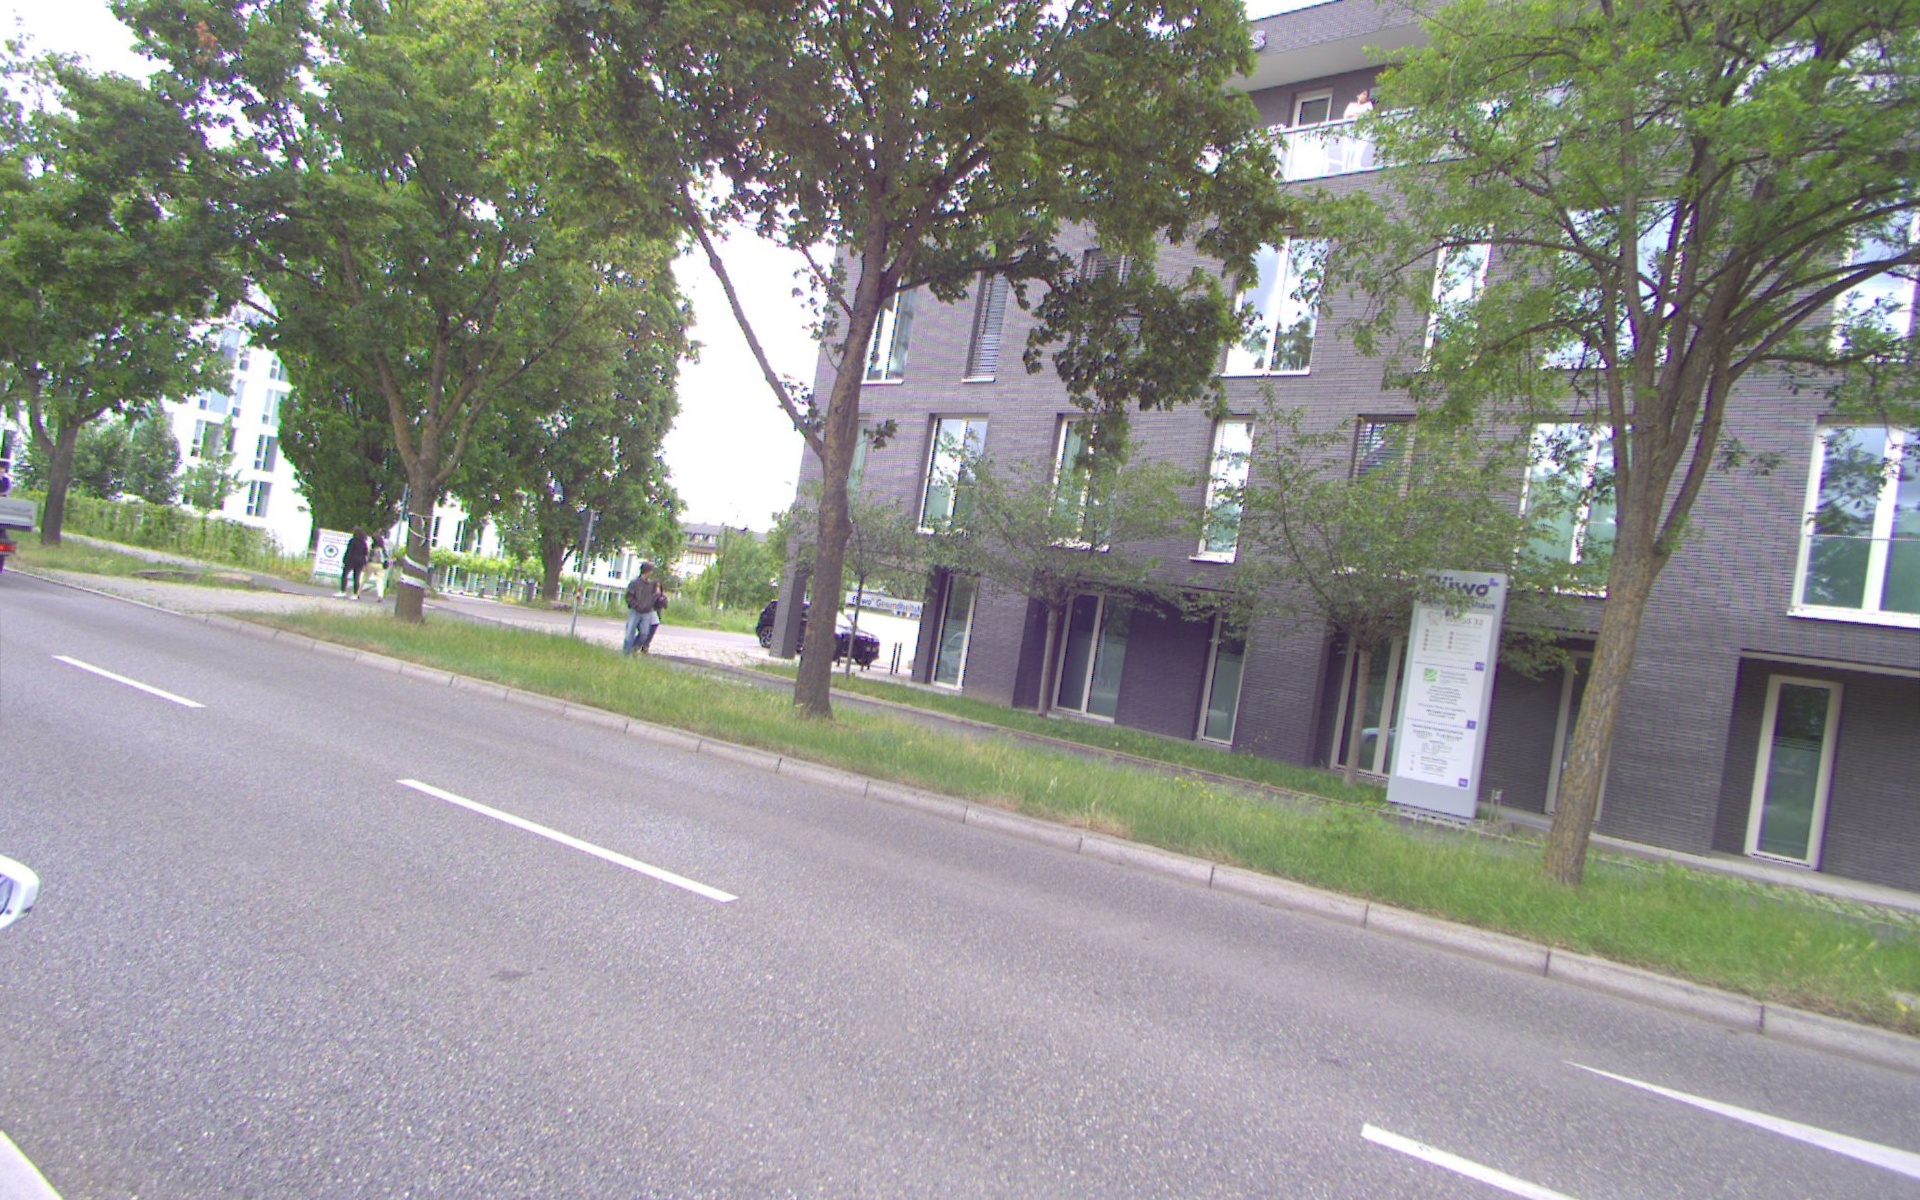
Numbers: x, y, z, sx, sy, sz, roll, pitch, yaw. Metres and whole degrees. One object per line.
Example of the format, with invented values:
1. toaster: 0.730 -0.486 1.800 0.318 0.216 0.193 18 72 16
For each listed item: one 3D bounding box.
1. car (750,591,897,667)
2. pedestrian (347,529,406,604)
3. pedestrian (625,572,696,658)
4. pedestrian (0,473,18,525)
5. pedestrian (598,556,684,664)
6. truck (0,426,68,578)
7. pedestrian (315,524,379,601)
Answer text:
1. car: -4.179 0.869 30.577 4.080 1.665 1.759 7 -2 32
2. pedestrian: -14.398 -0.834 24.814 0.937 1.679 0.779 7 -1 38
3. pedestrian: -6.078 0.308 20.429 0.862 1.575 0.833 7 -1 38
4. pedestrian: -30.713 -3.245 32.050 0.663 1.592 0.743 7 -1 31
5. pedestrian: -6.090 0.193 19.220 0.964 1.889 0.960 7 -1 39
6. truck: -17.265 -1.868 16.449 5.746 2.229 2.216 7 -1 31
7. pedestrian: -14.667 -0.902 24.059 1.043 1.679 0.796 7 -1 38
